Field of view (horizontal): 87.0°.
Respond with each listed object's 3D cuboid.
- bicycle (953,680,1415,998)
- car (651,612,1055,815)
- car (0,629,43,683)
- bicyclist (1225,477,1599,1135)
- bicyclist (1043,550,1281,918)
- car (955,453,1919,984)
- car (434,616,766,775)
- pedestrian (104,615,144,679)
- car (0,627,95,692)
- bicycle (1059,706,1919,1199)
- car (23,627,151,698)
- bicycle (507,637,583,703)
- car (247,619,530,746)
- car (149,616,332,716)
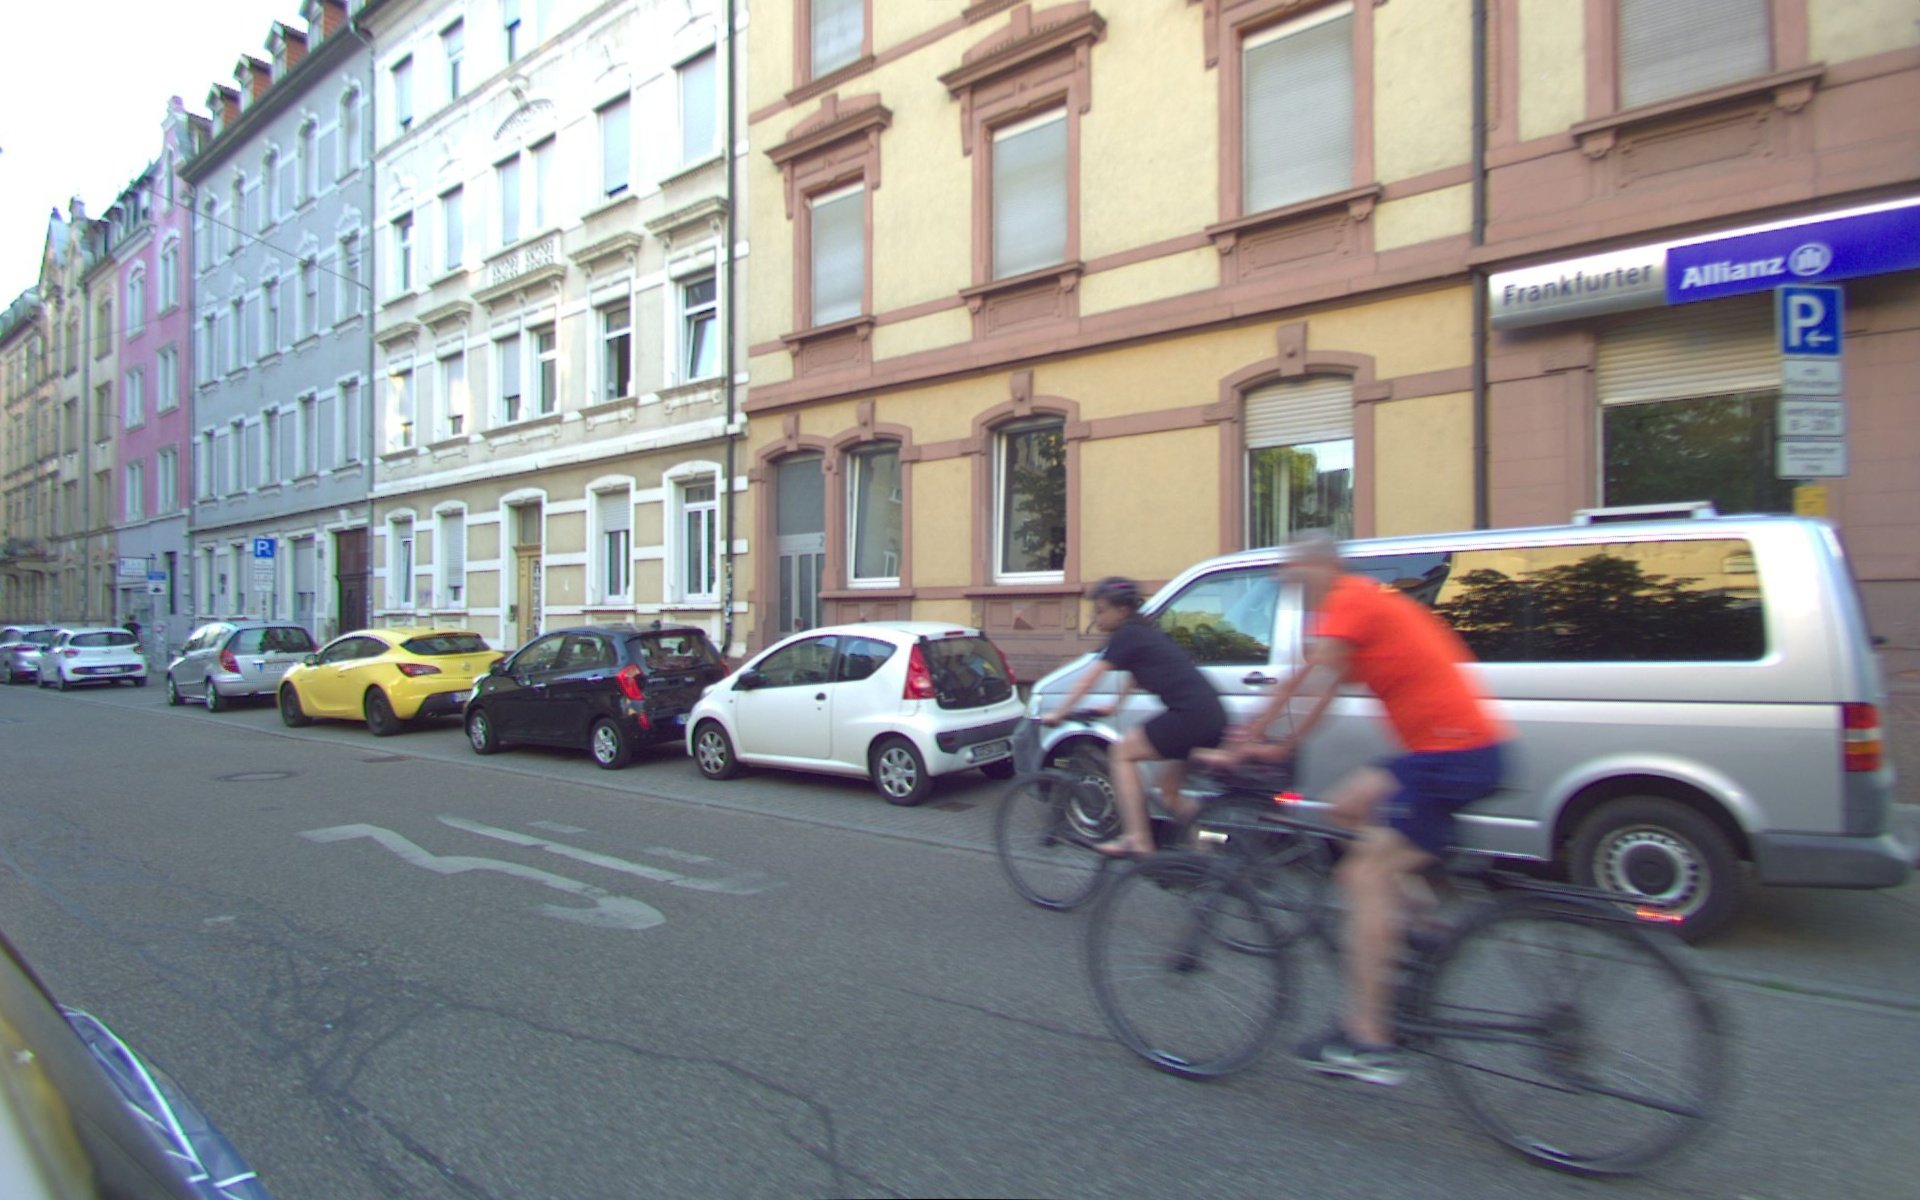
[{"bbox_3d":[0.972,0.980,4.764,2.012,1.115,0.714,-2,-2,38],"label":"bicycle"},{"bbox_3d":[-1.091,0.918,9.510,3.608,1.502,1.668,-2,0,38],"label":"car"},{"bbox_3d":[-31.119,1.795,32.552,4.052,1.604,1.736,-2,0,38],"label":"car"},{"bbox_3d":[1.293,0.491,2.888,0.864,1.537,0.647,-1,-2,33],"label":"bicyclist"},{"bbox_3d":[0.952,0.572,4.786,0.866,1.537,0.706,-2,-2,38],"label":"bicyclist"},{"bbox_3d":[2.559,0.499,6.215,4.999,2.072,2.021,-2,0,39],"label":"car"},{"bbox_3d":[-4.192,0.984,11.624,3.733,1.502,1.714,-2,0,35],"label":"car"},{"bbox_3d":[-26.189,1.452,31.706,0.833,1.964,0.840,-2,-2,42],"label":"pedestrian"},{"bbox_3d":[-26.333,1.638,28.593,4.663,1.604,1.817,-2,0,36],"label":"car"},{"bbox_3d":[1.324,0.920,2.860,2.008,1.115,0.644,-1,-2,33],"label":"bicycle"},{"bbox_3d":[-22.130,1.535,25.605,3.922,1.588,1.736,-2,0,39],"label":"car"},{"bbox_3d":[-7.609,1.261,18.524,1.862,1.149,0.475,-2,-2,40],"label":"bicycle"},{"bbox_3d":[-8.582,1.133,15.031,4.792,1.537,1.822,-2,0,36],"label":"car"},{"bbox_3d":[-13.614,1.176,19.056,4.141,1.604,1.782,-2,0,40],"label":"car"}]
